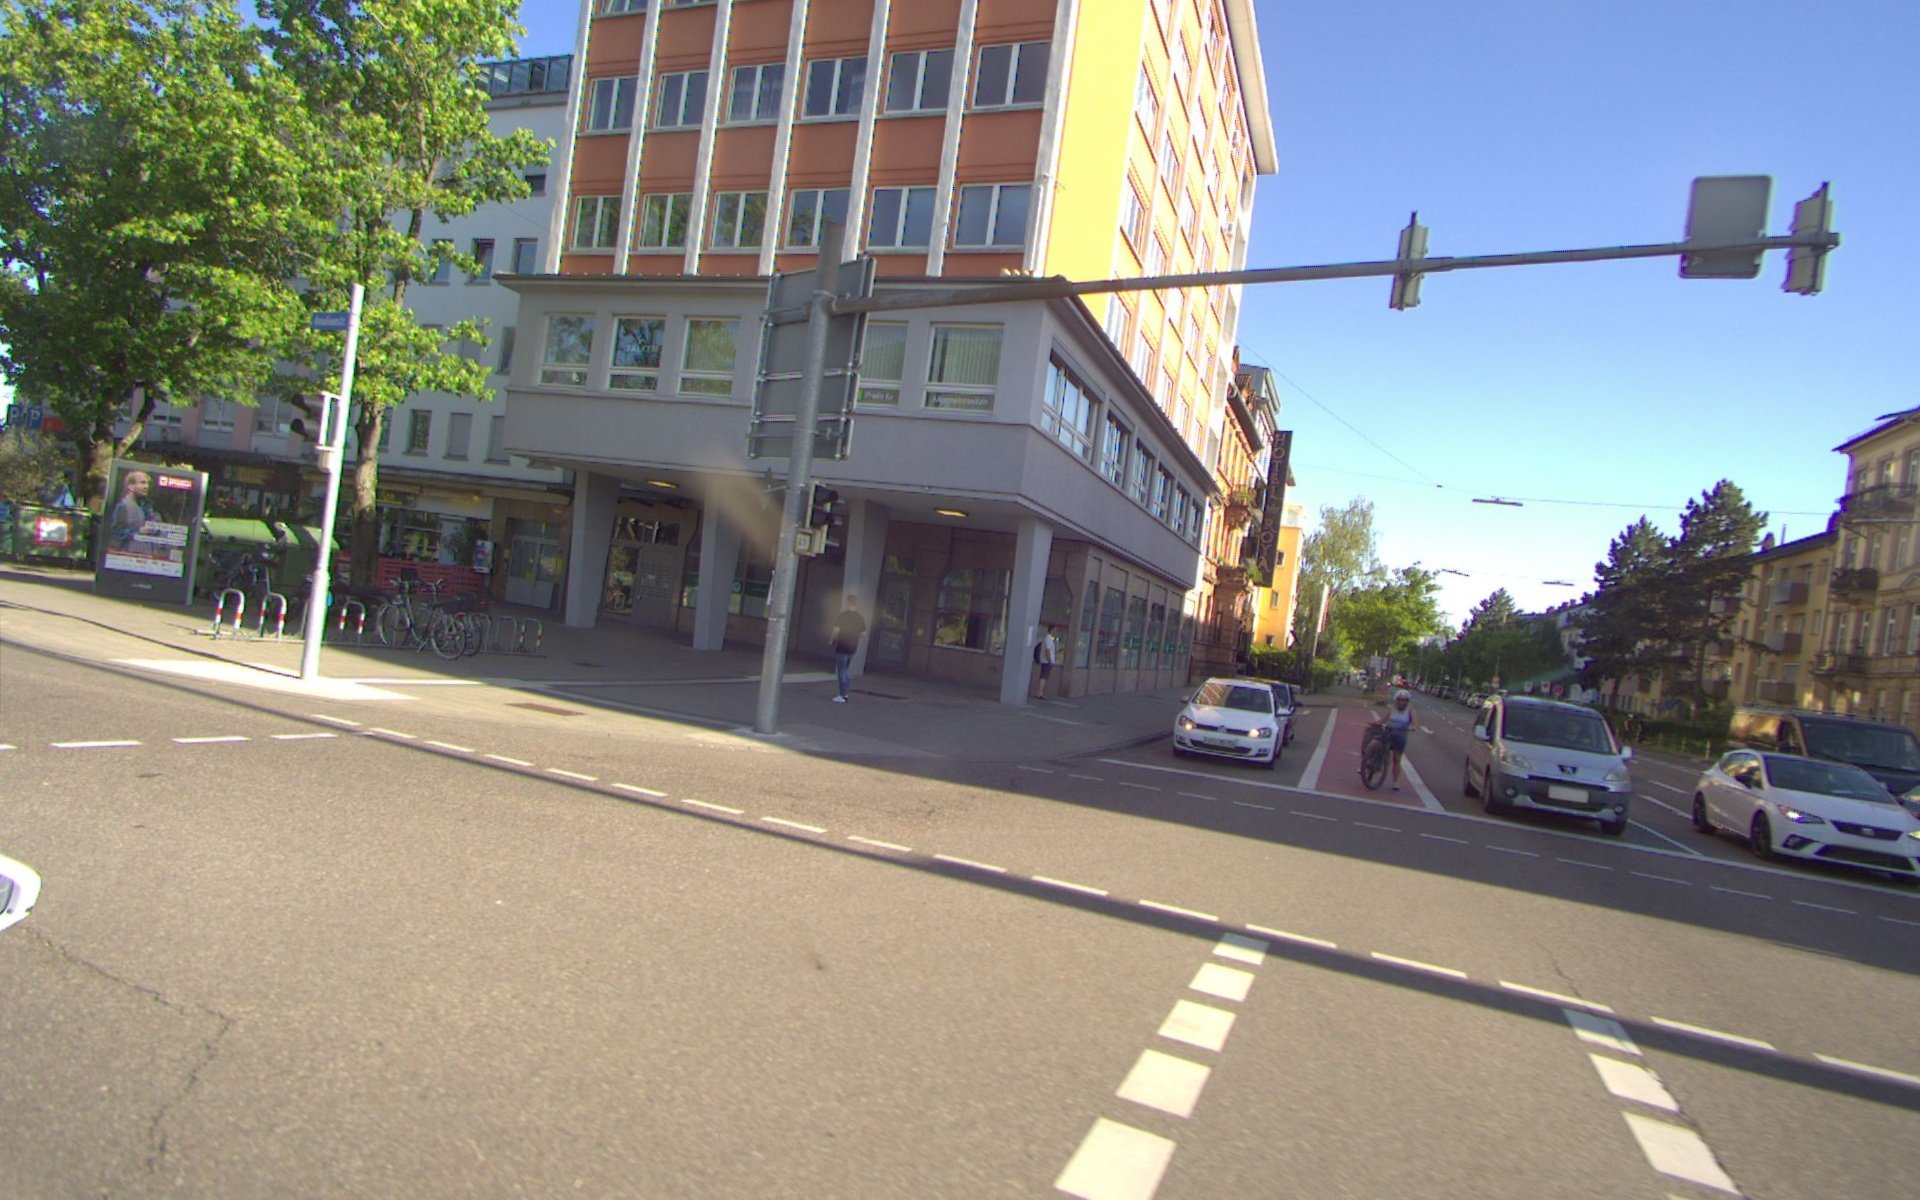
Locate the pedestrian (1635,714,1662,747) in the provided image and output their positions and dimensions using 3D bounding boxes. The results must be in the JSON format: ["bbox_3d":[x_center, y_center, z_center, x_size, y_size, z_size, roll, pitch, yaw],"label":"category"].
[{"bbox_3d":[38.256,7.253,55.890,0.828,1.692,0.779,7,-2,4],"label":"pedestrian"}]

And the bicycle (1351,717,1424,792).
[{"bbox_3d":[6.961,2.488,16.480,0.845,1.011,2.151,7,-3,20],"label":"bicycle"}]

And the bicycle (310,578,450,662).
[{"bbox_3d":[-8.822,0.293,15.282,2.080,0.995,0.477,7,-2,18],"label":"bicycle"}]

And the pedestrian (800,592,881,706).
[{"bbox_3d":[-2.117,0.863,17.776,0.880,1.865,0.825,6,-3,44],"label":"pedestrian"}]

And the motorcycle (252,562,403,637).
[{"bbox_3d":[-11.107,0.020,17.762,0.748,1.033,2.105,7,-3,22],"label":"motorcycle"}]

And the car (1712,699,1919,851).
[{"bbox_3d":[16.878,3.254,19.610,2.335,2.225,5.253,7,-1,26],"label":"car"}]

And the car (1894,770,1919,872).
[{"bbox_3d":[14.687,3.271,13.714,1.941,1.484,4.158,6,-4,32],"label":"car"}]

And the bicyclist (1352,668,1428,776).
[{"bbox_3d":[7.017,1.983,16.471,0.924,1.577,0.937,7,-2,19],"label":"bicyclist"}]

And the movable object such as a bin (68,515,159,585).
[{"bbox_3d":[-19.369,-1.130,23.046,0.911,1.371,1.177,7,-3,23],"label":"movable object such as a bin"}]

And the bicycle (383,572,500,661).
[{"bbox_3d":[-8.742,0.270,16.958,1.813,1.258,0.534,7,-2,20],"label":"bicycle"}]

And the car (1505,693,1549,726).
[{"bbox_3d":[40.587,7.860,72.070,1.963,2.035,4.252,7,-3,21],"label":"car"}]

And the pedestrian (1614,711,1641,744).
[{"bbox_3d":[36.985,7.059,55.755,0.828,1.692,0.779,7,-2,7],"label":"pedestrian"}]

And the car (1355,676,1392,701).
[{"bbox_3d":[34.074,7.336,82.984,1.962,1.740,4.254,7,-3,13],"label":"car"}]

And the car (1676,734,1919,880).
[{"bbox_3d":[11.902,2.799,14.159,1.814,1.456,4.006,7,-3,20],"label":"car"}]

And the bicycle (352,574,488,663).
[{"bbox_3d":[-8.558,0.287,15.945,2.080,1.129,0.477,7,-2,18],"label":"bicycle"}]

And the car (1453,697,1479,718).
[{"bbox_3d":[55.861,11.863,111.050,1.963,2.035,4.252,7,-3,21],"label":"car"}]

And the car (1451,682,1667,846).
[{"bbox_3d":[8.985,2.393,15.535,1.911,1.870,4.608,7,-3,21],"label":"car"}]

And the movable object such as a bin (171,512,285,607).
[{"bbox_3d":[-14.683,-0.799,20.221,0.989,1.658,1.386,7,-2,21],"label":"movable object such as a bin"}]

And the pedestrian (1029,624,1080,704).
[{"bbox_3d":[2.287,1.539,24.399,0.884,1.798,0.857,8,-2,-5],"label":"pedestrian"}]

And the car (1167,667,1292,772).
[{"bbox_3d":[5.096,2.168,18.636,1.811,1.518,4.169,5,-4,20],"label":"car"}]

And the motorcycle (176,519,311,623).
[{"bbox_3d":[-12.999,-0.537,18.238,2.501,1.557,0.805,7,-2,28],"label":"motorcycle"}]

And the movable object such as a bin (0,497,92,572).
[{"bbox_3d":[-20.042,-1.422,22.028,0.908,1.407,1.281,6,-3,39],"label":"movable object such as a bin"}]

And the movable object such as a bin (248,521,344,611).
[{"bbox_3d":[-14.128,-0.708,21.433,0.928,1.729,1.260,6,-1,21],"label":"movable object such as a bin"}]

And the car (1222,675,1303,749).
[{"bbox_3d":[7.310,2.615,24.082,1.548,1.443,4.167,5,-3,20],"label":"car"}]

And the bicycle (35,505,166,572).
[{"bbox_3d":[-20.958,-1.479,24.583,2.141,1.265,0.894,8,-1,-23],"label":"bicycle"}]
